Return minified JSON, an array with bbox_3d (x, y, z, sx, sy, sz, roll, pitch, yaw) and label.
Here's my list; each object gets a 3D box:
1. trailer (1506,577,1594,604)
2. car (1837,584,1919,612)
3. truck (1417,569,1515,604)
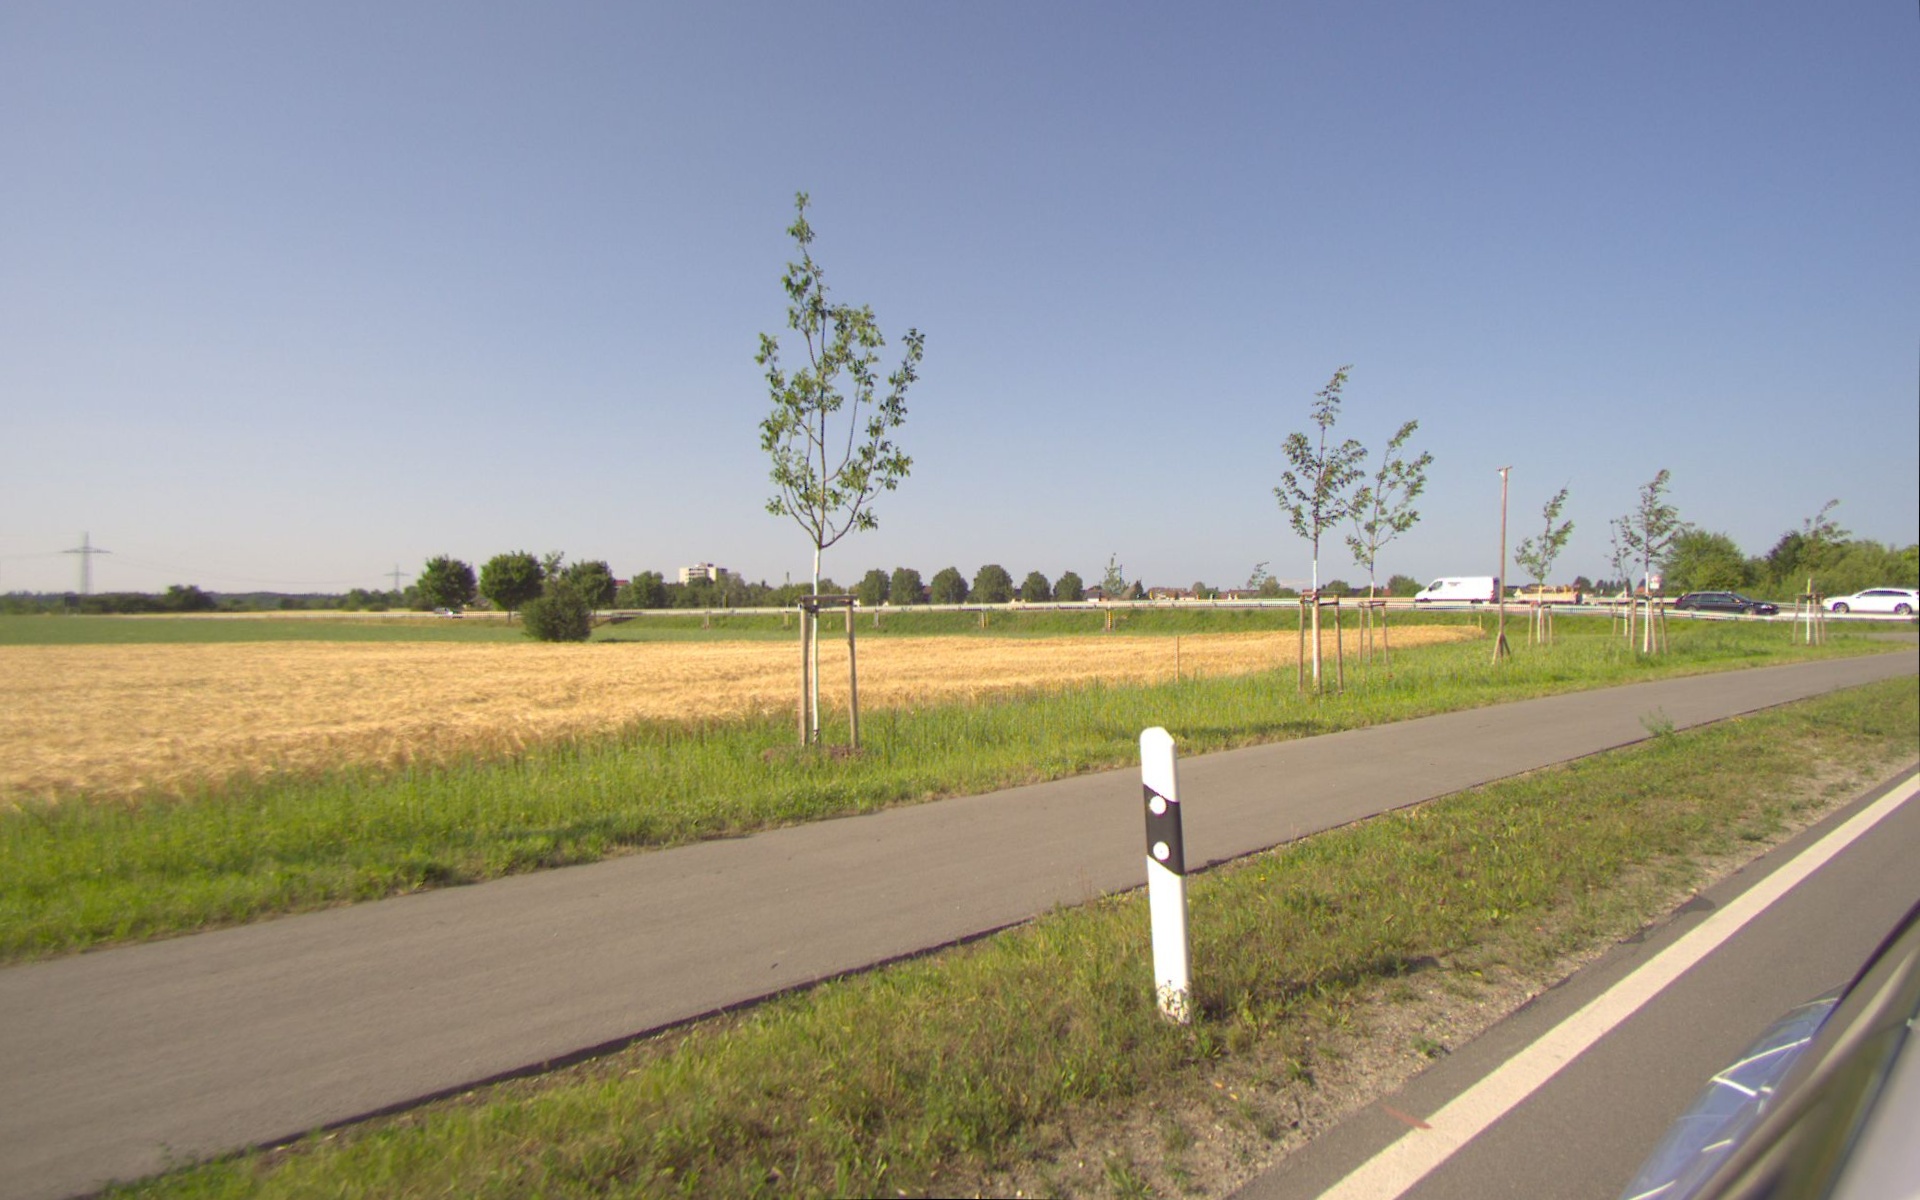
[{"bbox_3d":[41.216,-0.683,70.787,1.948,1.759,5.001,-1,1,-43],"label":"trailer"},{"bbox_3d":[53.596,-0.135,58.147,1.734,1.510,4.701,0,1,-41],"label":"car"},{"bbox_3d":[37.350,-1.017,74.861,2.037,2.435,6.184,-1,1,-43],"label":"truck"}]
